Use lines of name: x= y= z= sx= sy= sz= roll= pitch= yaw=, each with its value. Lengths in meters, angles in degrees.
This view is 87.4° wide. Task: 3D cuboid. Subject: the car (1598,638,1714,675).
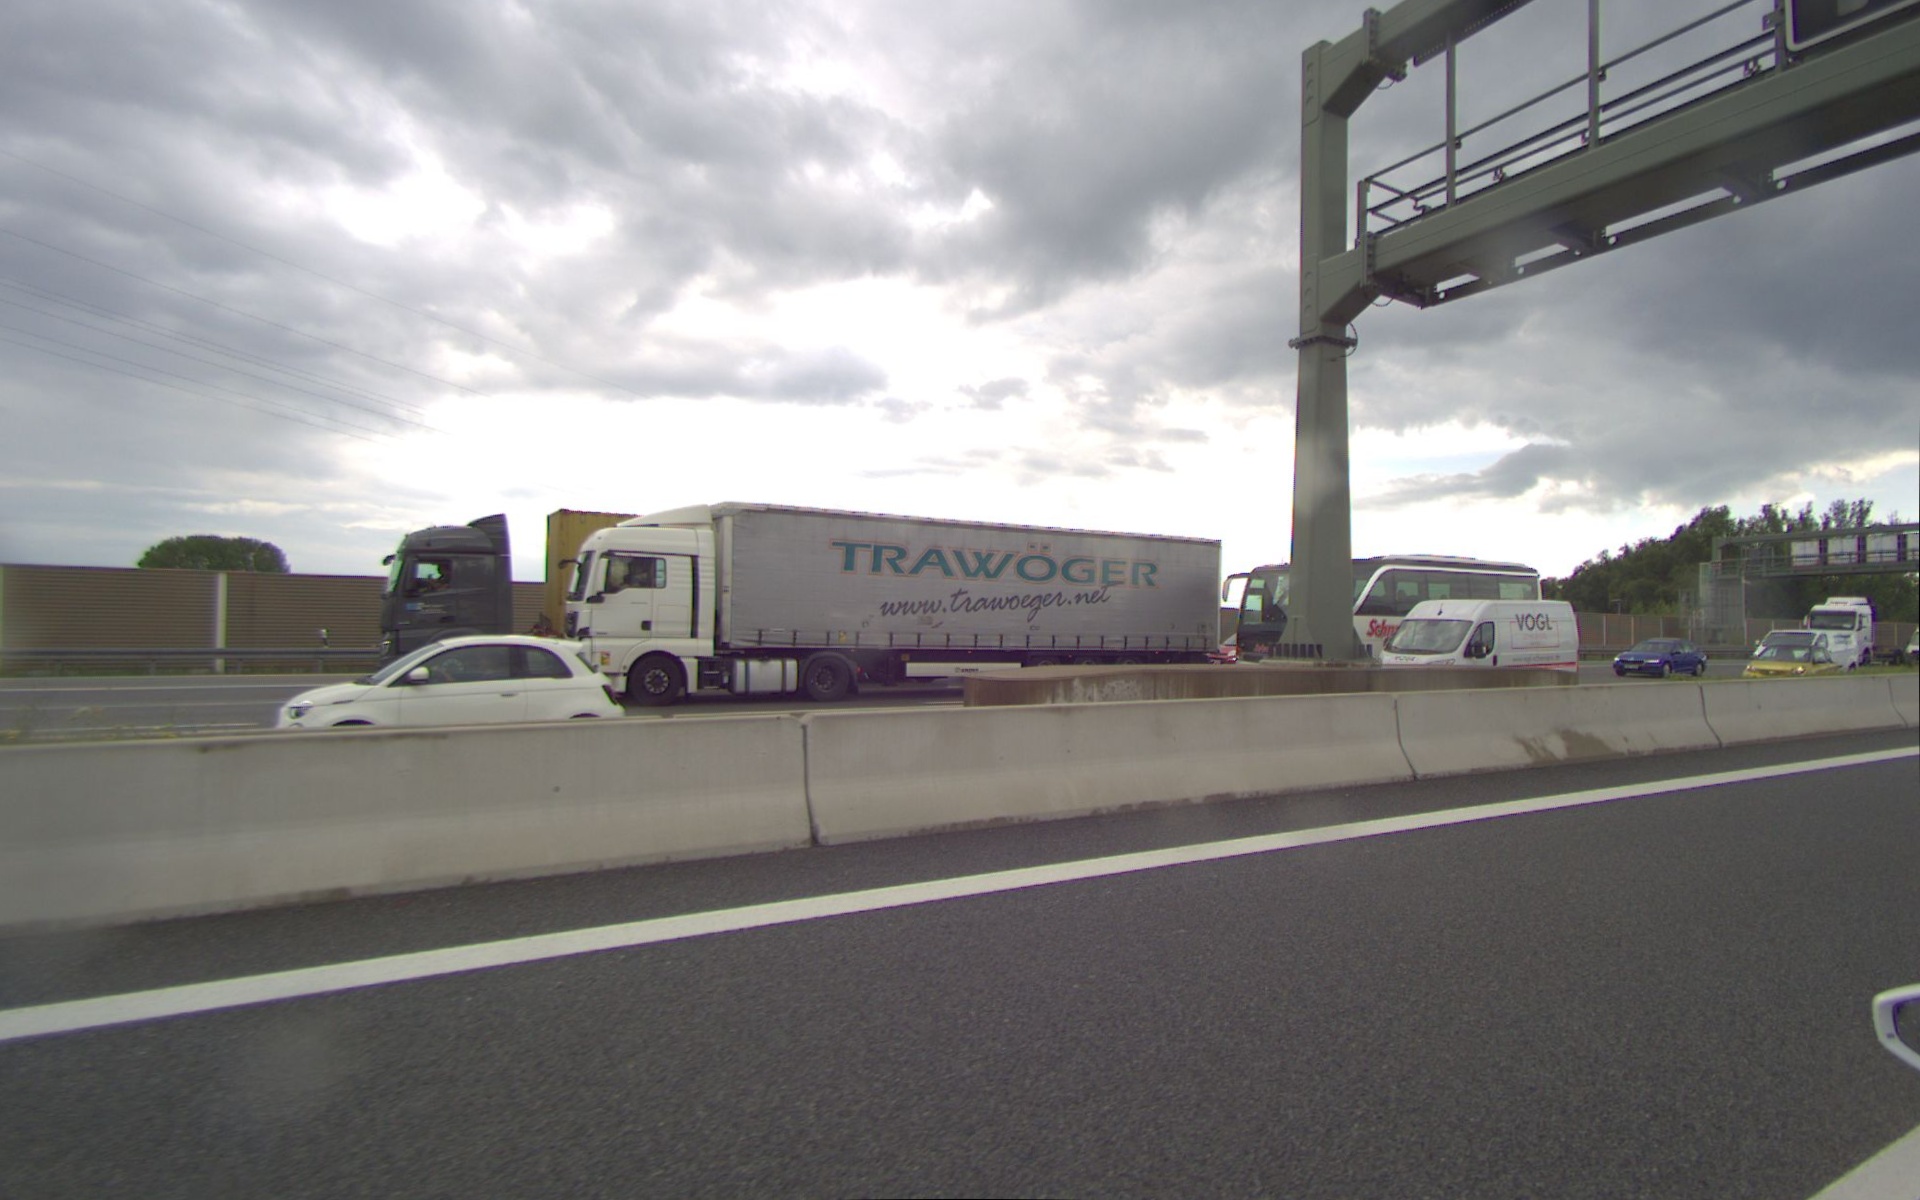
car: x=28.162 y=2.261 z=40.617 sx=4.886 sy=1.404 sz=1.955 roll=2 pitch=-2 yaw=-30

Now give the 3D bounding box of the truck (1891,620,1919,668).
truck: x=55.972 y=2.537 z=57.441 sx=6.481 sy=2.638 sz=2.233 roll=2 pitch=-2 yaw=-30

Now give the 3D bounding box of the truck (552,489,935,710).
truck: x=-4.501 y=0.053 z=21.468 sx=7.449 sy=4.014 sz=2.871 roll=1 pitch=0 yaw=-31

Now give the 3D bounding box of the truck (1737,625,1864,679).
truck: x=33.396 y=2.035 z=39.870 sx=5.481 sy=2.026 sz=2.232 roll=2 pitch=-2 yaw=-31

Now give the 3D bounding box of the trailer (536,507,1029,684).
trailer: x=-4.317 y=0.087 z=27.077 sx=12.820 sy=3.985 sz=3.015 roll=2 pitch=-2 yaw=-30

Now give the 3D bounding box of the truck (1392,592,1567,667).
truck: x=21.444 y=1.250 z=41.322 sx=7.741 sy=2.851 sz=2.679 roll=2 pitch=-2 yaw=-30

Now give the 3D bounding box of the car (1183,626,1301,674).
car: x=9.838 y=1.730 z=34.974 sx=3.842 sy=1.562 sz=1.779 roll=2 pitch=-2 yaw=-30

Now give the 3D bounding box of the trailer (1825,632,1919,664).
trailer: x=61.180 y=3.071 z=65.023 sx=16.154 sy=1.853 sz=2.740 roll=1 pitch=-1 yaw=-30

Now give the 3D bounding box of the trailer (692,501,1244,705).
trailer: x=0.859 y=0.189 z=24.703 sx=14.134 sy=4.014 sz=2.871 roll=1 pitch=0 yaw=-31

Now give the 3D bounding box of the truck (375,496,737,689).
truck: x=-9.523 y=-0.037 z=24.057 sx=7.619 sy=3.985 sz=3.015 roll=2 pitch=-1 yaw=-30

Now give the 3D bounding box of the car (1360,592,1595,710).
car: x=11.818 y=1.090 z=22.825 sx=5.646 sy=2.383 sz=2.125 roll=1 pitch=0 yaw=-32

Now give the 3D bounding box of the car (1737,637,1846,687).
car: x=25.317 y=1.847 z=30.575 sx=3.291 sy=1.406 sz=1.605 roll=1 pitch=-1 yaw=-32

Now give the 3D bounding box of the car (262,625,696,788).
car: x=-5.501 y=1.118 z=11.824 sx=4.328 sy=1.559 sz=1.727 roll=1 pitch=0 yaw=-32

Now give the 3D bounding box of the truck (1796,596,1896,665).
truck: x=53.429 y=1.851 z=60.563 sx=5.978 sy=3.939 sz=2.740 roll=1 pitch=-1 yaw=-30

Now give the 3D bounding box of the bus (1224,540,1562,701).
bus: x=11.915 y=0.634 z=27.041 sx=10.508 sy=3.728 sz=2.642 roll=2 pitch=-1 yaw=-30
